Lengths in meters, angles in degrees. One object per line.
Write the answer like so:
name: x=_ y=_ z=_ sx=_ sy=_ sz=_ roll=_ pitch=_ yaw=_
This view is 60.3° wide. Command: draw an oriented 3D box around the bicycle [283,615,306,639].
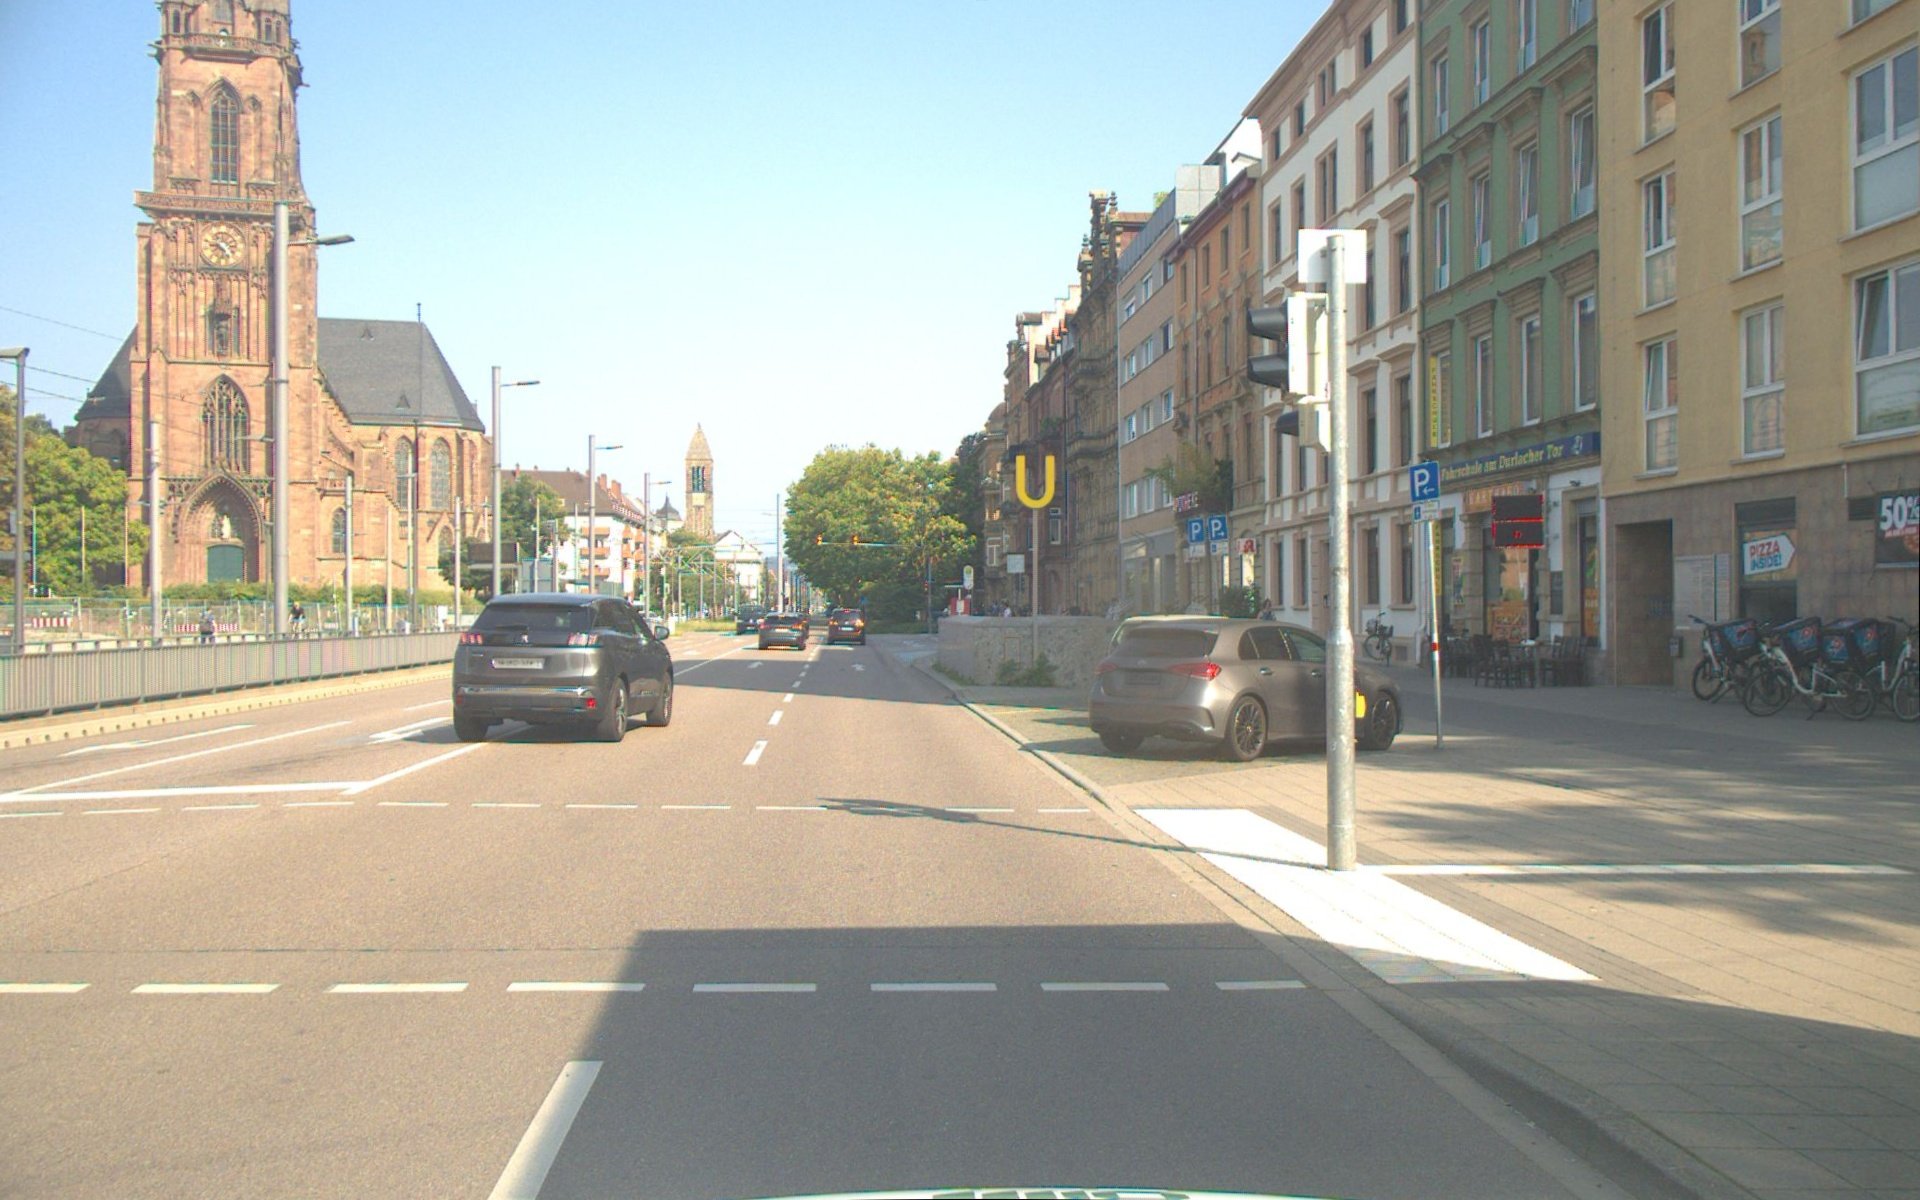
bicycle: x=-27.085 y=1.091 z=67.363 sx=0.343 sy=0.970 sz=1.694 roll=0 pitch=0 yaw=-4

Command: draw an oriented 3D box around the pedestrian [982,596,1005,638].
pedestrian: x=1.505 y=0.748 z=73.533 sx=0.908 sy=1.864 sz=0.799 roll=0 pitch=0 yaw=-8

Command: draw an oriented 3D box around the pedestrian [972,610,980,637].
pedestrian: x=0.782 y=1.135 z=80.068 sx=0.270 sy=1.296 sz=0.447 roll=0 pitch=0 yaw=-11

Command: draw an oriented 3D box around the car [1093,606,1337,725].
car: x=3.518 y=0.836 z=22.497 sx=1.595 sy=1.489 sz=3.505 roll=-1 pitch=-1 yaw=43

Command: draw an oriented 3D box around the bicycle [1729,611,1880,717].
bicycle: x=10.744 y=0.786 z=21.129 sx=0.592 sy=1.283 sz=1.991 roll=0 pitch=0 yaw=-12

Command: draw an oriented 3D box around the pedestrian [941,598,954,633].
pedestrian: x=-0.623 y=0.789 z=82.947 sx=0.554 sy=1.759 sz=0.744 roll=0 pitch=0 yaw=-8

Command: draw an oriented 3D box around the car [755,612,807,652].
car: x=-7.019 y=1.234 z=65.204 sx=1.827 sy=1.449 sz=4.353 roll=1 pitch=0 yaw=-4

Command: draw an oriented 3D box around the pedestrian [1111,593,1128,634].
pedestrian: x=7.214 y=0.605 z=74.814 sx=0.592 sy=1.864 sz=0.741 roll=0 pitch=0 yaw=-8

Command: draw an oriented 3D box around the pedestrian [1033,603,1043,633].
pedestrian: x=4.400 y=1.016 z=93.551 sx=0.476 sy=1.638 sz=0.812 roll=0 pitch=-1 yaw=-3

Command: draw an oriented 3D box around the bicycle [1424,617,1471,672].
bicycle: x=10.515 y=0.943 z=35.715 sx=0.376 sy=1.154 sz=1.718 roll=0 pitch=0 yaw=-4

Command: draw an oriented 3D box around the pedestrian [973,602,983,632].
pedestrian: x=1.043 y=1.007 z=97.032 sx=0.472 sy=1.732 sz=0.702 roll=0 pitch=0 yaw=-8

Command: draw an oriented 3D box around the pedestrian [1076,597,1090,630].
pedestrian: x=6.268 y=0.690 z=84.526 sx=0.592 sy=1.683 sz=0.586 roll=0 pitch=0 yaw=-8

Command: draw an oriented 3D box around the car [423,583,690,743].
car: x=-4.559 y=0.656 z=19.386 sx=1.952 sy=1.649 sz=4.357 roll=0 pitch=0 yaw=1

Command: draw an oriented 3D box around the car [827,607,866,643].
car: x=-5.544 y=1.207 z=80.717 sx=1.795 sy=1.649 sz=4.353 roll=1 pitch=0 yaw=-4

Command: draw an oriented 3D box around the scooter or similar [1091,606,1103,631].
scooter or similar: x=6.579 y=0.896 z=79.576 sx=0.353 sy=1.183 sz=1.150 roll=0 pitch=0 yaw=-7

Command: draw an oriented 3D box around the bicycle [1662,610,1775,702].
bicycle: x=11.035 y=0.788 z=24.133 sx=0.590 sy=1.283 sz=1.995 roll=0 pitch=0 yaw=-4

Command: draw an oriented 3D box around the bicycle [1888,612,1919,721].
bicycle: x=11.666 y=0.783 z=19.223 sx=0.590 sy=1.283 sz=1.847 roll=0 pitch=0 yaw=-5

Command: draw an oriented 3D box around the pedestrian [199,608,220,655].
pedestrian: x=-28.101 y=1.164 z=61.912 sx=0.507 sy=1.730 sz=0.664 roll=0 pitch=0 yaw=-5

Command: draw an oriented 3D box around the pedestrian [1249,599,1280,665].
pedestrian: x=7.685 y=0.800 z=41.788 sx=0.596 sy=1.658 sz=0.736 roll=0 pitch=0 yaw=-4

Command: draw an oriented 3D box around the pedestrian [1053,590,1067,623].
pedestrian: x=5.414 y=0.363 z=89.591 sx=0.617 sy=1.749 sz=0.690 roll=0 pitch=0 yaw=-5

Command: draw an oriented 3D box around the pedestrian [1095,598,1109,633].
pedestrian: x=7.022 y=0.750 z=81.669 sx=0.592 sy=1.721 sz=0.586 roll=0 pitch=0 yaw=-8

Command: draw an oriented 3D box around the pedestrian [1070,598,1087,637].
pedestrian: x=5.591 y=0.823 z=78.243 sx=0.706 sy=1.819 sz=0.855 roll=0 pitch=-1 yaw=-3

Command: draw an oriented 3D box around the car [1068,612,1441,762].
car: x=3.326 y=0.856 z=18.132 sx=4.374 sy=1.448 sz=1.818 roll=1 pitch=-1 yaw=-44

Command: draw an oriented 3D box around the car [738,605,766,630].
car: x=-13.674 y=1.136 z=108.740 sx=1.707 sy=1.553 sz=3.869 roll=-1 pitch=0 yaw=-5

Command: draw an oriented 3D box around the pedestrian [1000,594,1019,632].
pedestrian: x=2.313 y=0.590 z=77.062 sx=0.735 sy=1.759 sz=0.799 roll=0 pitch=0 yaw=-8

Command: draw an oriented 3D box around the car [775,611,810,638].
car: x=-9.463 y=1.390 z=93.663 sx=1.827 sy=1.449 sz=4.353 roll=1 pitch=0 yaw=-4

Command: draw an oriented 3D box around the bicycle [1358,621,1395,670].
bicycle: x=10.129 y=1.099 z=40.259 sx=0.376 sy=1.154 sz=1.718 roll=0 pitch=0 yaw=-4

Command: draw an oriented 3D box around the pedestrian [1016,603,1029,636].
pedestrian: x=3.520 y=1.104 z=93.556 sx=0.604 sy=1.836 sz=1.071 roll=0 pitch=-1 yaw=-3

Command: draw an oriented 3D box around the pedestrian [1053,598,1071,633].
pedestrian: x=4.816 y=0.737 z=78.162 sx=0.706 sy=1.638 sz=0.855 roll=0 pitch=-1 yaw=-3

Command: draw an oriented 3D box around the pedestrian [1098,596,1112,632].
pedestrian: x=7.089 y=0.672 z=80.873 sx=0.592 sy=1.762 sz=0.510 roll=0 pitch=0 yaw=-8

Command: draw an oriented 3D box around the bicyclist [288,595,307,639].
bicyclist: x=-27.017 y=0.692 z=67.481 sx=0.477 sy=1.778 sz=0.818 roll=0 pitch=0 yaw=-4

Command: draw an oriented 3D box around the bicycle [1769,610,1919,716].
bicycle: x=11.390 y=0.779 z=21.344 sx=0.592 sy=1.283 sz=1.991 roll=0 pitch=0 yaw=-12
